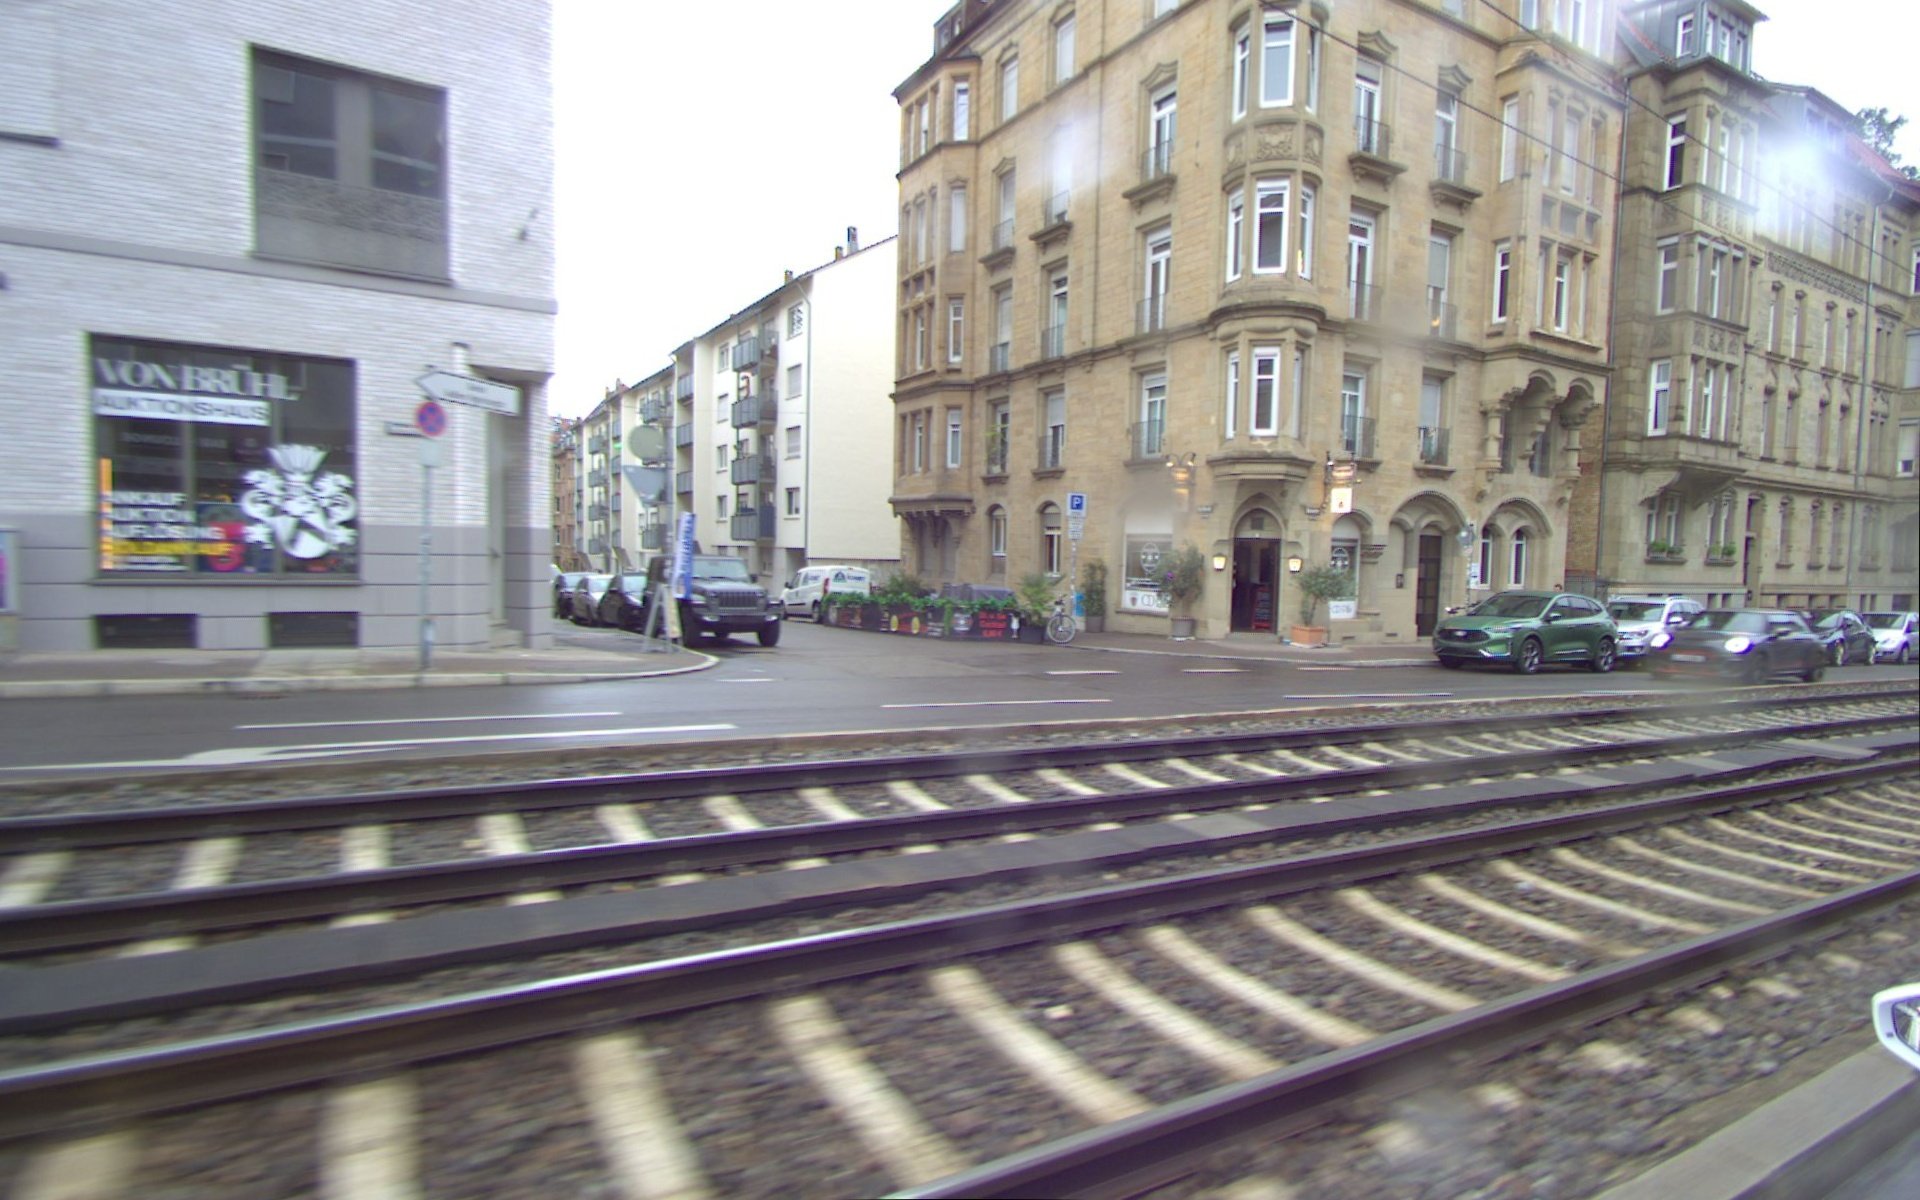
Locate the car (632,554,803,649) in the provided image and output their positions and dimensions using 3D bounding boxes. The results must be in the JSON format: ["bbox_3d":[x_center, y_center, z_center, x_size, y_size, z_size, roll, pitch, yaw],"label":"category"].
[{"bbox_3d":[-5.185,-0.031,20.976,2.013,1.751,4.663,1,1,-33],"label":"car"}]

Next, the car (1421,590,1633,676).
[{"bbox_3d":[11.889,0.673,21.015,4.376,1.623,1.850,1,0,-29],"label":"car"}]

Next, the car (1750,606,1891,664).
[{"bbox_3d":[24.789,0.995,28.903,4.121,1.528,1.861,1,1,-31],"label":"car"}]

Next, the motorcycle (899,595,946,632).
[{"bbox_3d":[-1.300,0.456,34.656,0.699,1.247,2.064,1,0,-31],"label":"motorcycle"}]

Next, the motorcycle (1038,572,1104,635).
[{"bbox_3d":[2.992,0.094,27.215,0.616,1.641,2.063,1,0,-32],"label":"motorcycle"}]

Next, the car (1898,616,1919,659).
[{"bbox_3d":[33.739,1.285,34.080,4.222,1.417,1.753,1,0,-32],"label":"car"}]

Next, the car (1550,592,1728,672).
[{"bbox_3d":[15.812,0.726,23.361,4.267,1.674,1.848,1,1,-32],"label":"car"}]

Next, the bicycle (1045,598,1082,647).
[{"bbox_3d":[2.497,0.535,24.490,0.608,1.134,2.136,1,0,-1],"label":"bicycle"}]

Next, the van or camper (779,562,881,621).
[{"bbox_3d":[-4.393,-0.266,33.448,1.921,1.799,3.931,1,0,-32],"label":"van or camper"}]

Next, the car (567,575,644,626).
[{"bbox_3d":[-10.457,0.013,29.520,1.415,1.368,3.820,1,0,-30],"label":"car"}]

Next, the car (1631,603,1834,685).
[{"bbox_3d":[14.848,0.814,19.283,3.734,1.406,1.697,1,1,-28],"label":"car"}]

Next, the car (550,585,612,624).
[{"bbox_3d":[-12.702,0.138,33.553,1.414,1.240,3.497,1,0,-30],"label":"car"}]

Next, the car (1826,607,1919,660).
[{"bbox_3d":[28.858,1.029,31.300,3.810,1.544,1.687,1,0,-30],"label":"car"}]

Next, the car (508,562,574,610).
[{"bbox_3d":[-17.908,-0.577,42.791,1.927,1.895,4.759,1,0,-31],"label":"car"}]

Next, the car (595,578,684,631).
[{"bbox_3d":[-8.226,0.111,25.636,1.415,1.240,3.495,1,0,-31],"label":"car"}]
